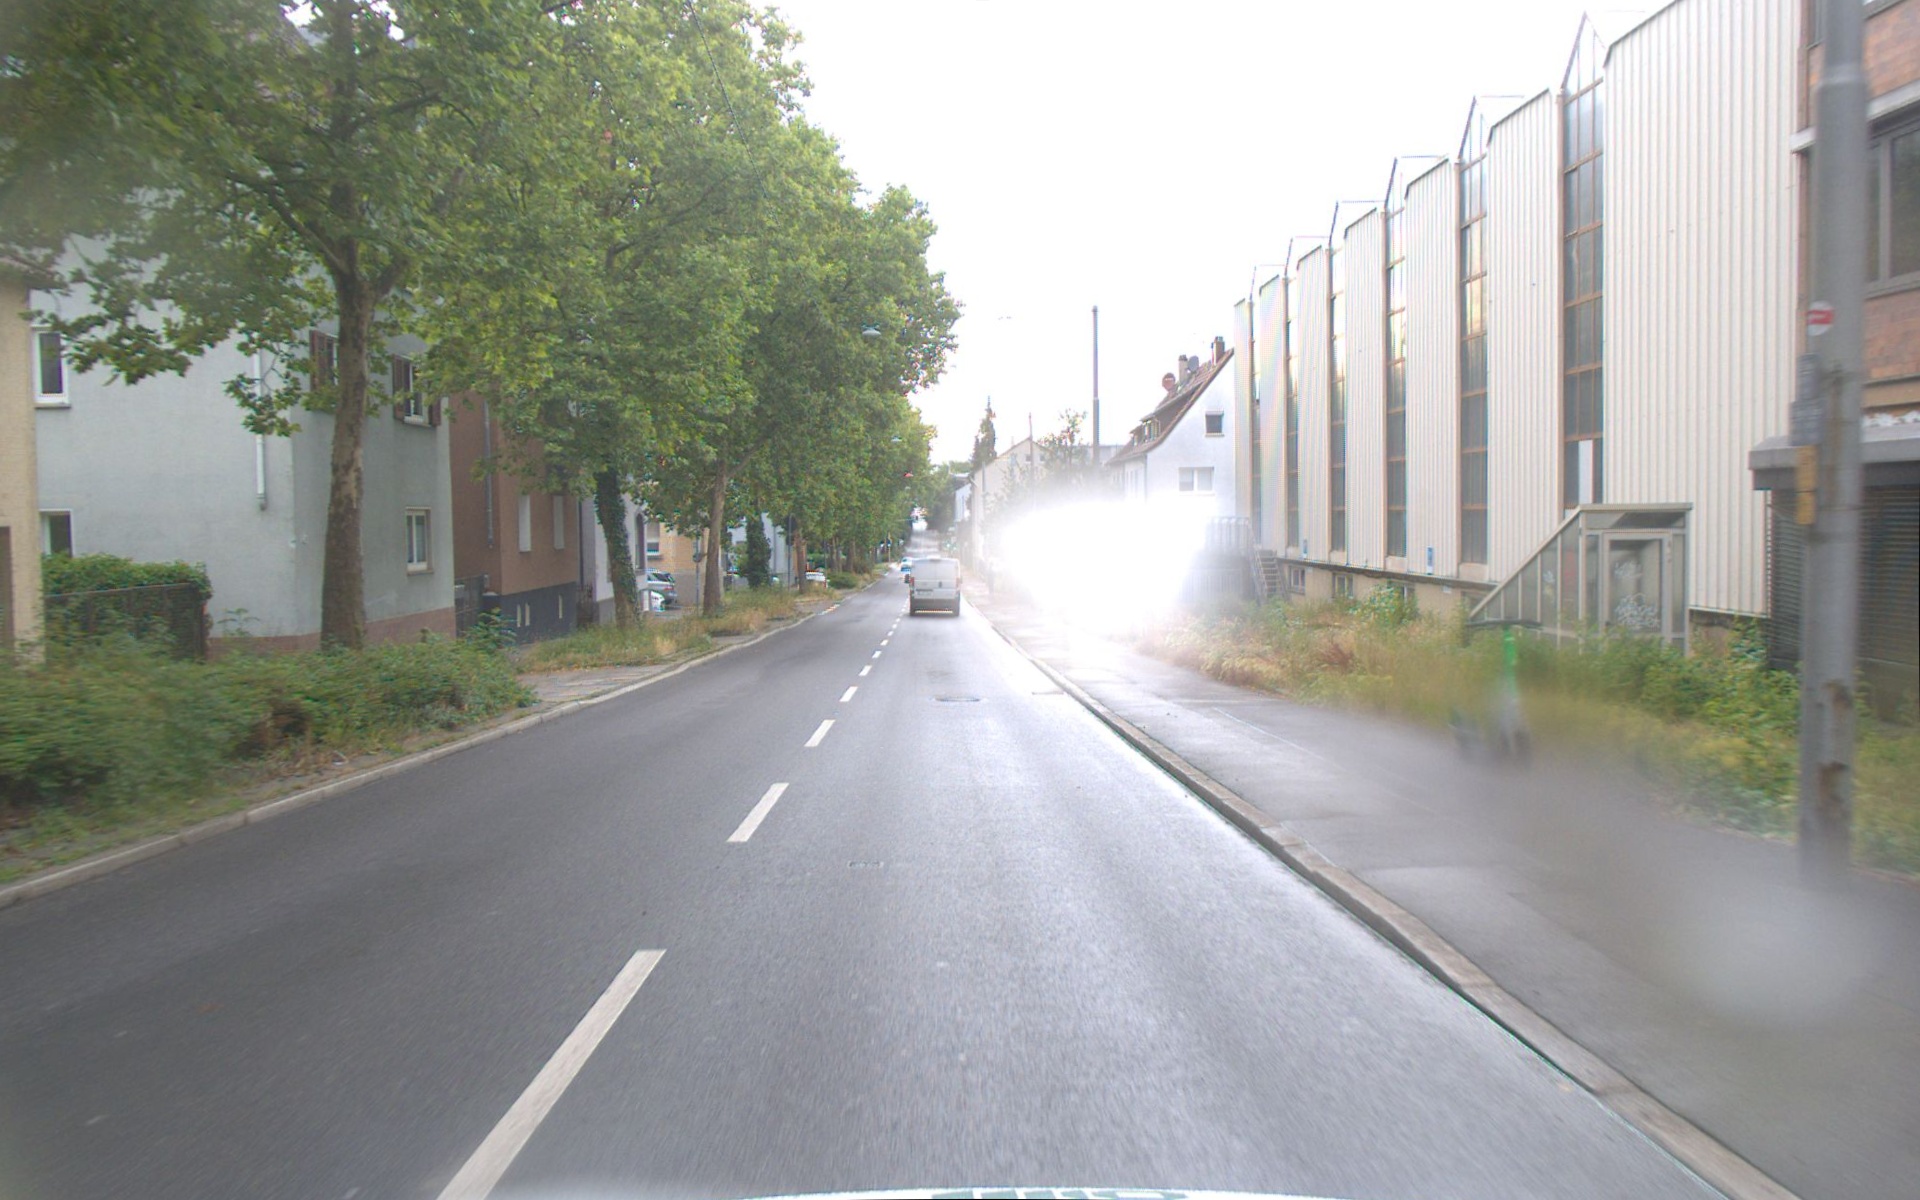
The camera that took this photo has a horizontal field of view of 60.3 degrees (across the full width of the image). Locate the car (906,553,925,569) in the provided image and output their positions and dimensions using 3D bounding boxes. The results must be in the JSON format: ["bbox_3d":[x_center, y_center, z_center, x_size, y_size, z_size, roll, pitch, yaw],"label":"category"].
[{"bbox_3d":[-5.217,-4.518,192.184,1.954,1.738,4.256,0,1,-5],"label":"car"}]

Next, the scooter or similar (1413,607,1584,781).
[{"bbox_3d":[4.009,0.664,12.448,0.593,1.182,1.698,-1,0,-5],"label":"scooter or similar"}]

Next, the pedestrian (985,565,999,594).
[{"bbox_3d":[1.898,-1.209,99.099,0.799,1.727,0.729,0,1,2],"label":"pedestrian"}]

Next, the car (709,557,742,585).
[{"bbox_3d":[-16.977,-2.110,119.883,1.837,1.927,4.000,-1,2,-1],"label":"car"}]

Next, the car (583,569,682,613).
[{"bbox_3d":[-15.028,-0.412,76.056,4.112,1.924,1.999,-1,1,-2],"label":"car"}]

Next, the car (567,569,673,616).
[{"bbox_3d":[-14.462,-0.324,70.560,4.112,1.924,1.999,-1,1,-2],"label":"car"}]

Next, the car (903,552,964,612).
[{"bbox_3d":[-1.114,-0.783,66.897,2.300,2.197,4.776,-2,3,-3],"label":"car"}]
